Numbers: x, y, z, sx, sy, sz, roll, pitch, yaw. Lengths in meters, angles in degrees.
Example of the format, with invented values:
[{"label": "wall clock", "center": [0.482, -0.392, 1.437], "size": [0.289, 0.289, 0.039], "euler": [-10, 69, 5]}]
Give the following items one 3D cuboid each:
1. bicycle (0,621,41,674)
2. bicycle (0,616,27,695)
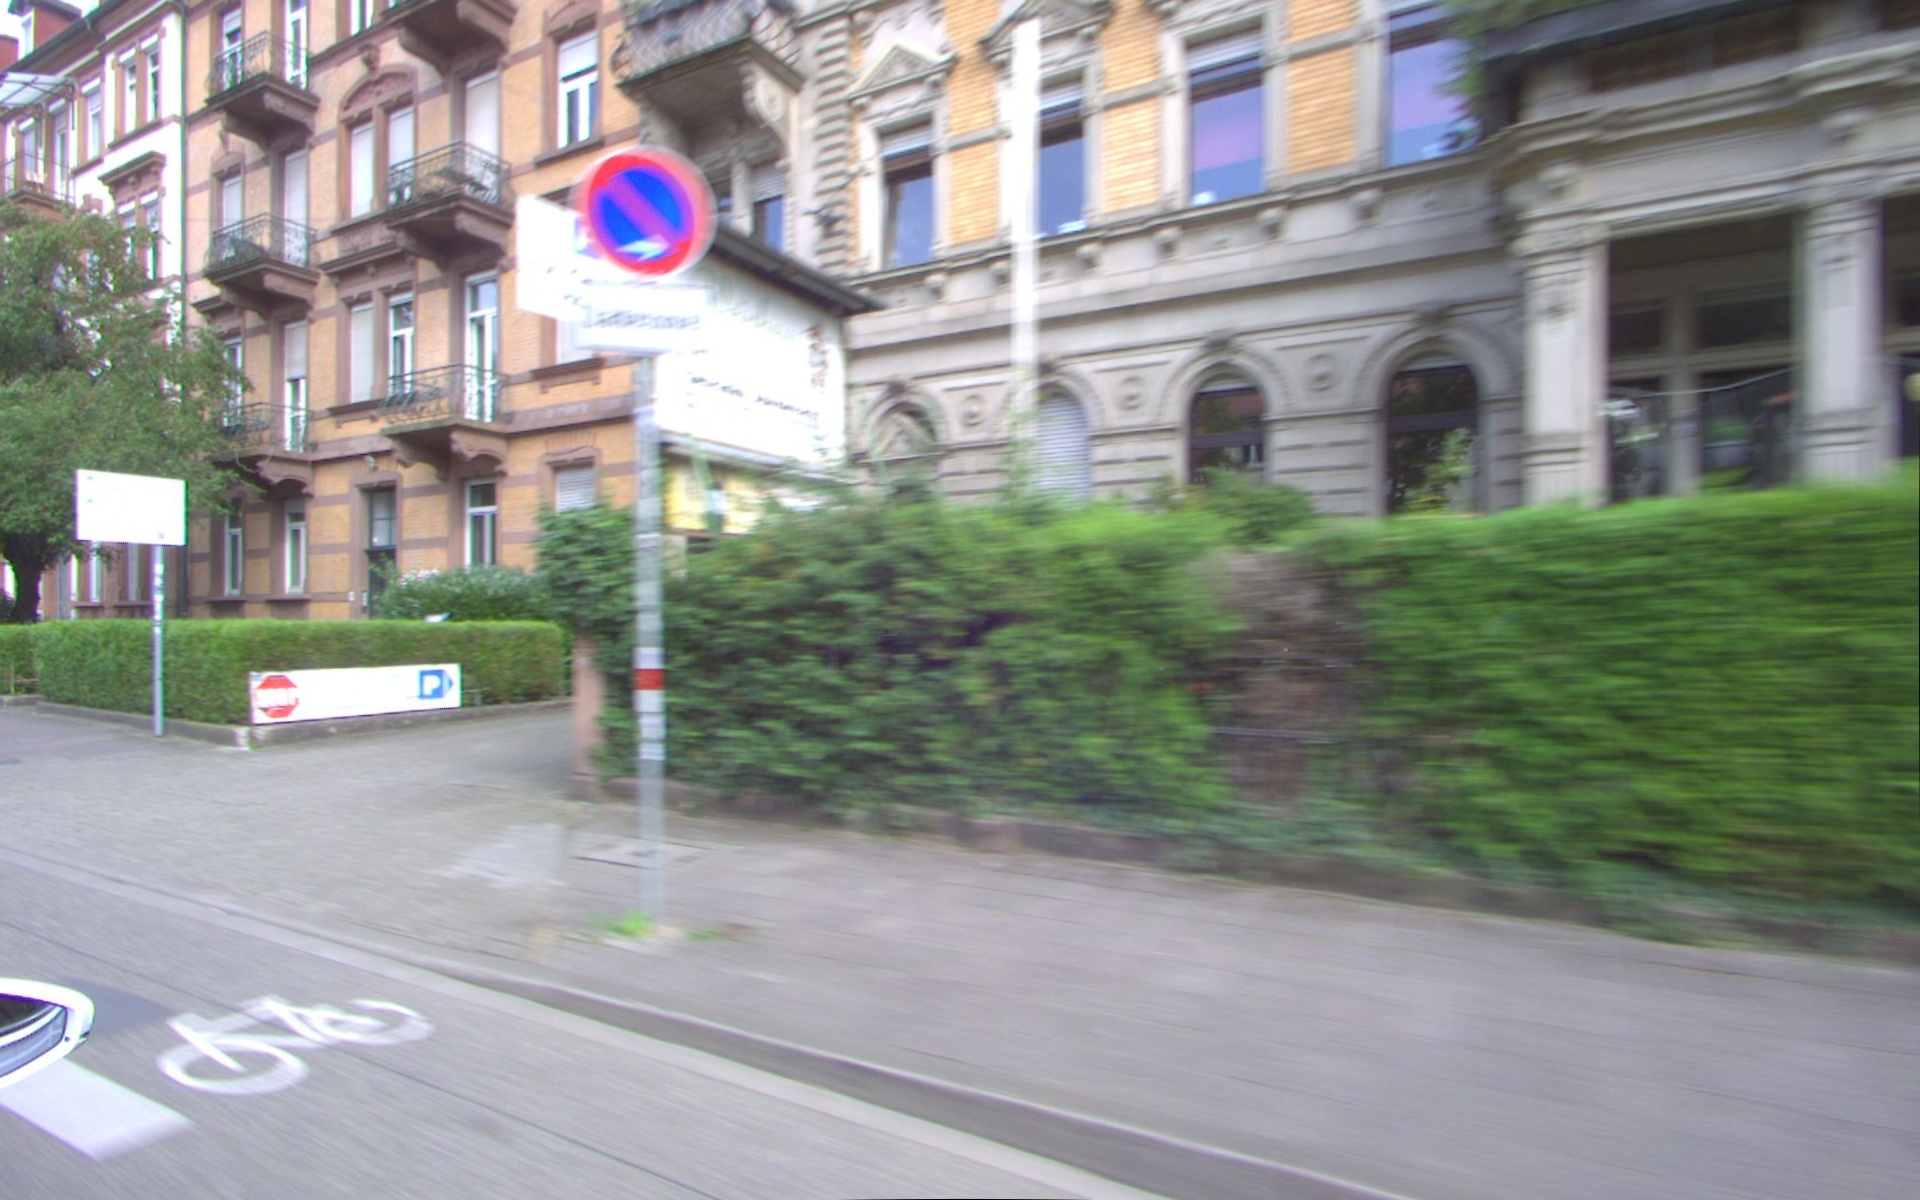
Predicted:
[{"label": "bicycle", "center": [-19.061, 0.925, 19.560], "size": [0.502, 1.022, 1.544], "euler": [0, -1, 28]}, {"label": "bicycle", "center": [-16.407, 0.918, 16.953], "size": [1.527, 1.298, 0.515], "euler": [0, 0, 32]}]
